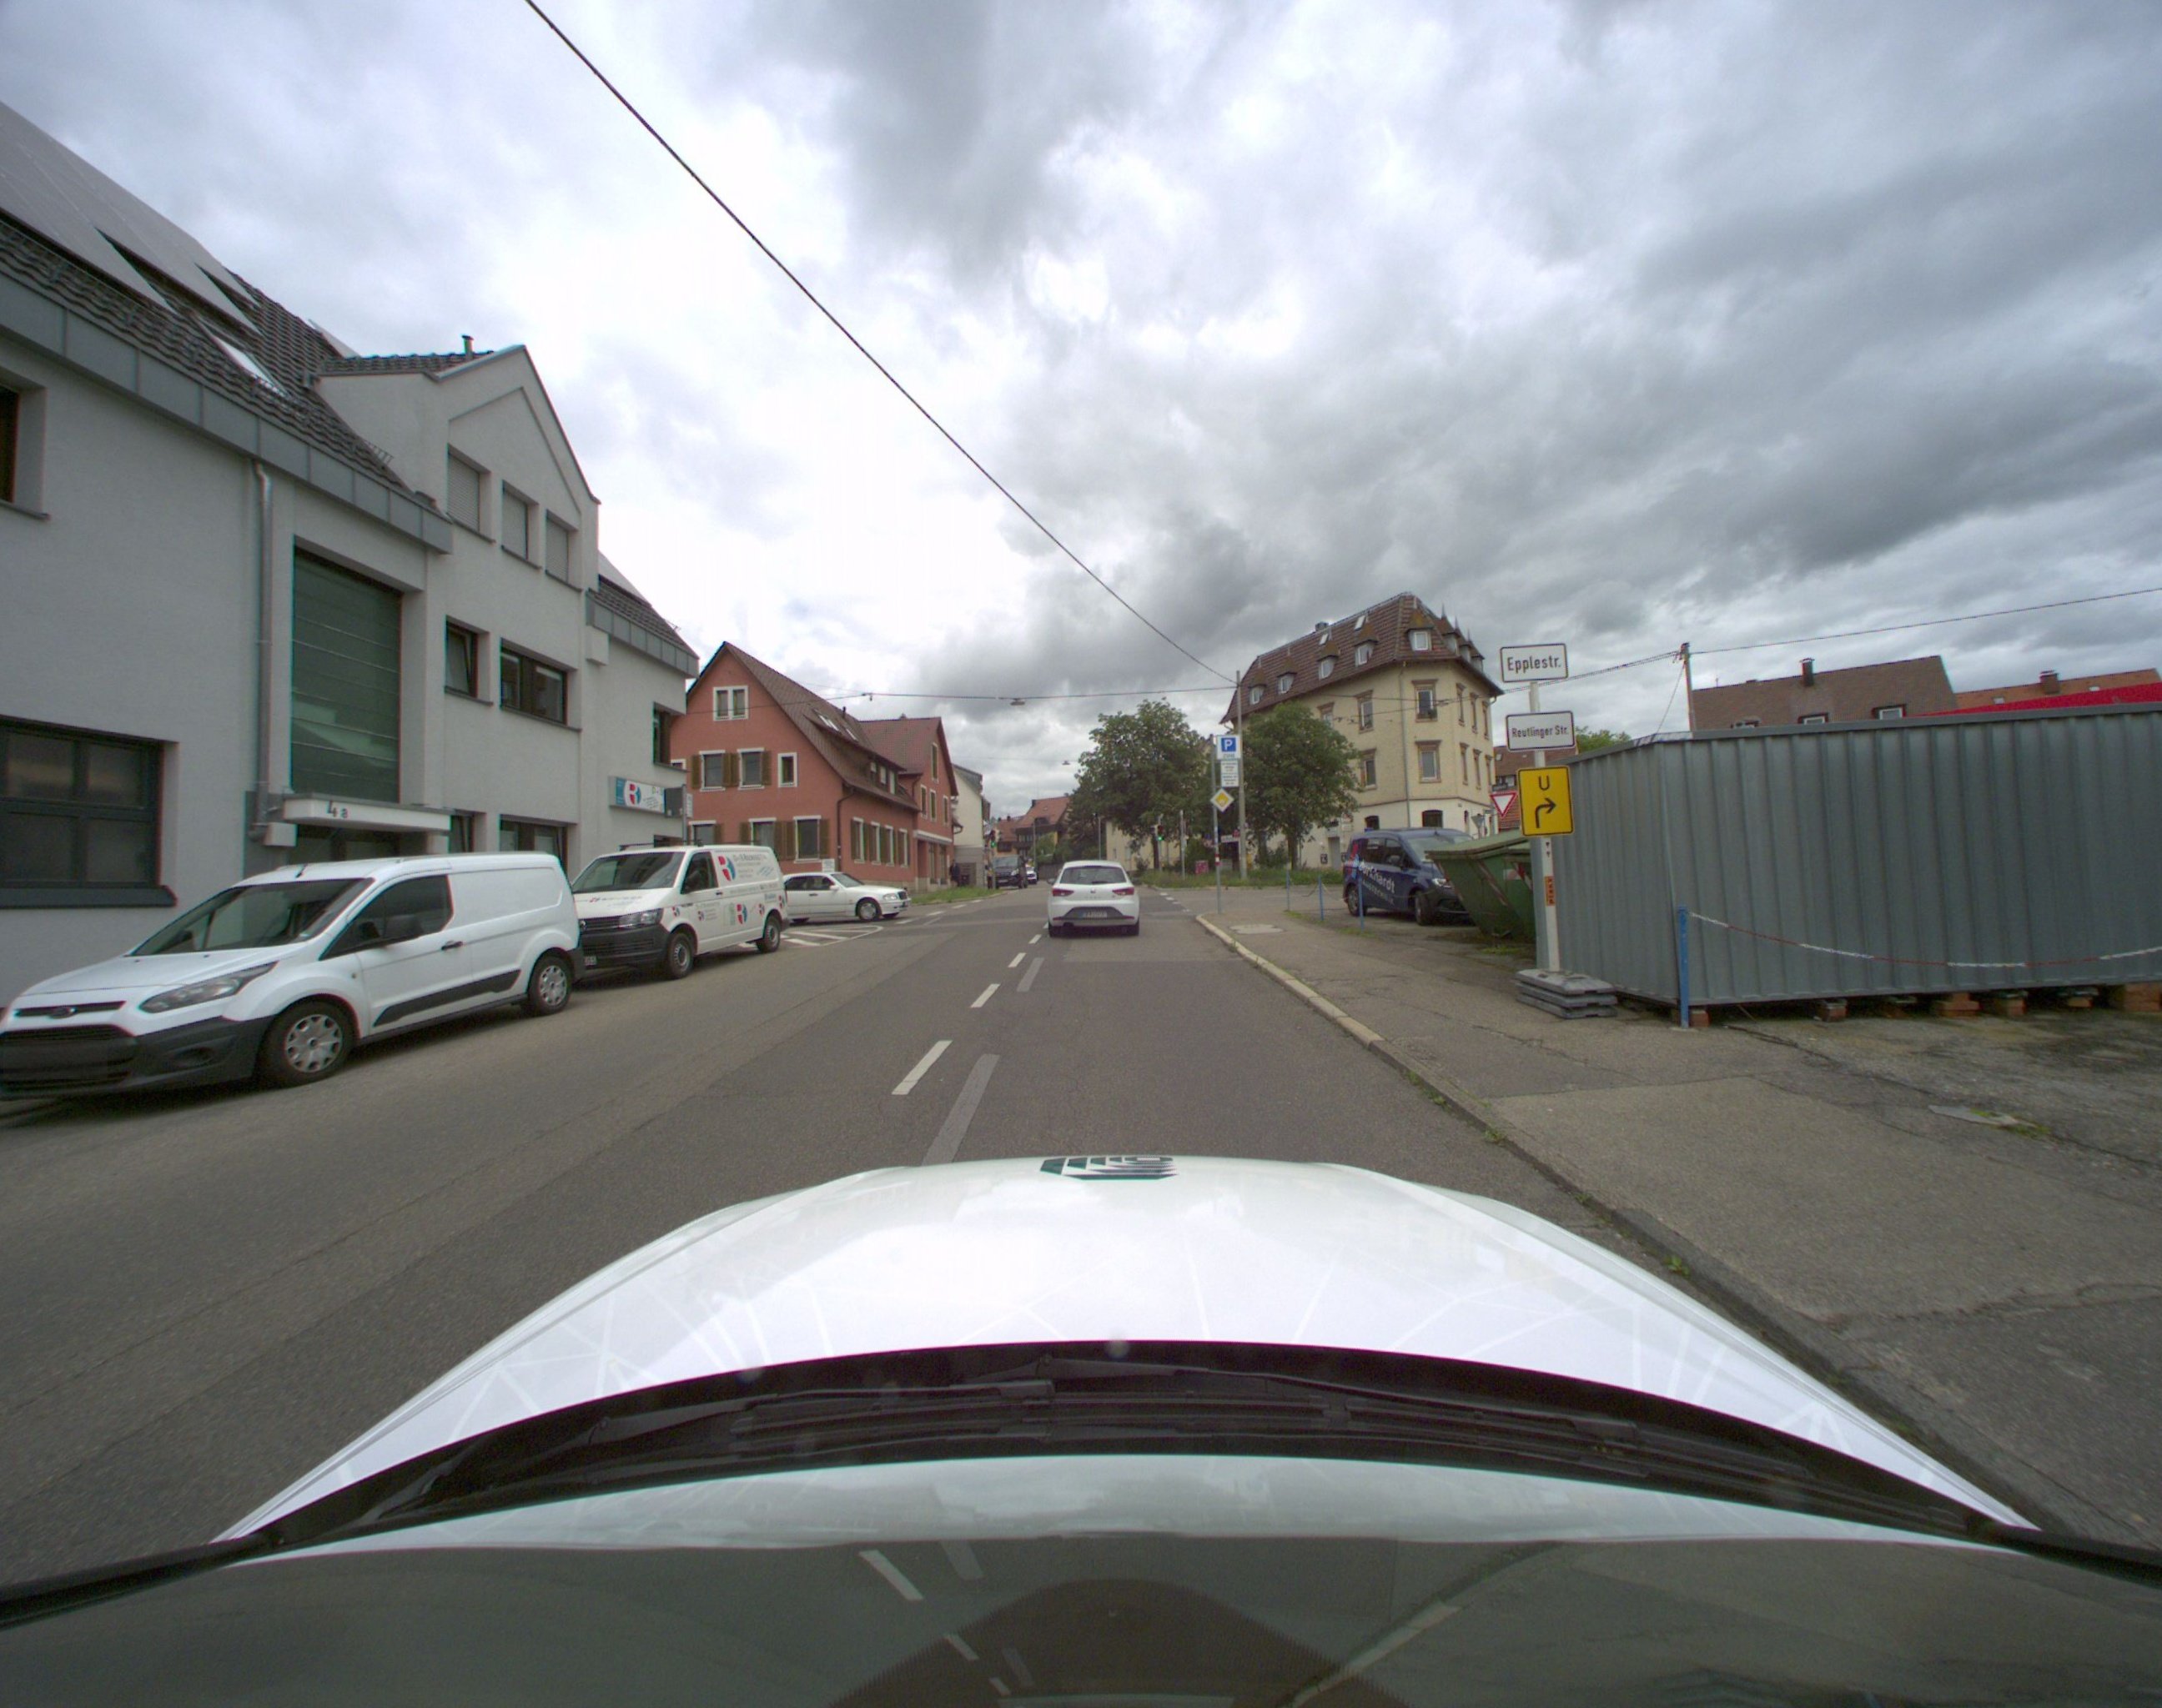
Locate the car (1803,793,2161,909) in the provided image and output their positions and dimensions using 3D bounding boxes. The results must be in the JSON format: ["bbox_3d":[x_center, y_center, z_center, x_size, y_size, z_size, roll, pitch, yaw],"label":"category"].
[{"bbox_3d":[16.627,-0.023,14.852,1.908,1.802,4.846,1,-1,-30],"label":"car"}]

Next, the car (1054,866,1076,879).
[{"bbox_3d":[-1.863,2.139,92.988,1.760,1.452,3.981,1,-2,-13],"label":"car"}]

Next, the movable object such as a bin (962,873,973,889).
[{"bbox_3d":[-7.795,1.867,56.050,0.664,1.018,0.795,-2,-1,-2],"label":"movable object such as a bin"}]

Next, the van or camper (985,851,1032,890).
[{"bbox_3d":[-4.173,1.012,47.463,2.066,2.006,4.857,-4,-3,1],"label":"van or camper"}]

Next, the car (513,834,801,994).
[{"bbox_3d":[-6.441,0.797,13.163,1.804,2.005,4.767,-4,0,4],"label":"car"}]

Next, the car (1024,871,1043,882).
[{"bbox_3d":[-6.539,3.138,111.872,1.763,1.452,3.976,-1,-2,-17],"label":"car"}]

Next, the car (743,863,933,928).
[{"bbox_3d":[-6.668,1.129,22.668,4.532,1.445,2.003,-4,-1,4],"label":"car"}]

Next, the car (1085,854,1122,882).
[{"bbox_3d":[1.194,0.797,45.101,1.754,1.452,3.995,-1,-2,-3],"label":"car"}]

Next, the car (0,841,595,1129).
[{"bbox_3d":[-6.751,0.887,7.559,1.727,1.832,4.298,-4,0,1],"label":"car"}]

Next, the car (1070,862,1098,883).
[{"bbox_3d":[0.186,1.372,60.459,1.755,1.452,3.993,-1,-2,-5],"label":"car"}]

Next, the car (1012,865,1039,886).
[{"bbox_3d":[-4.582,1.778,66.872,1.995,1.633,4.846,-1,-2,-6],"label":"car"}]

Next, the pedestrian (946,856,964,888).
[{"bbox_3d":[-6.996,0.999,45.282,0.797,1.785,0.893,-1,-1,1],"label":"pedestrian"}]

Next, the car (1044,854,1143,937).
[{"bbox_3d":[0.344,0.751,16.779,1.751,1.452,4.003,-2,0,3],"label":"car"}]

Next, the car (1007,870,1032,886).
[{"bbox_3d":[-5.720,2.218,75.286,1.997,1.436,3.906,-1,-2,-8],"label":"car"}]

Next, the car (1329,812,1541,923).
[{"bbox_3d":[6.618,0.234,15.871,1.743,1.739,4.563,-3,0,-5],"label":"car"}]

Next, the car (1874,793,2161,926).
[{"bbox_3d":[14.374,0.080,11.719,1.877,1.728,3.957,1,-1,-35],"label":"car"}]
